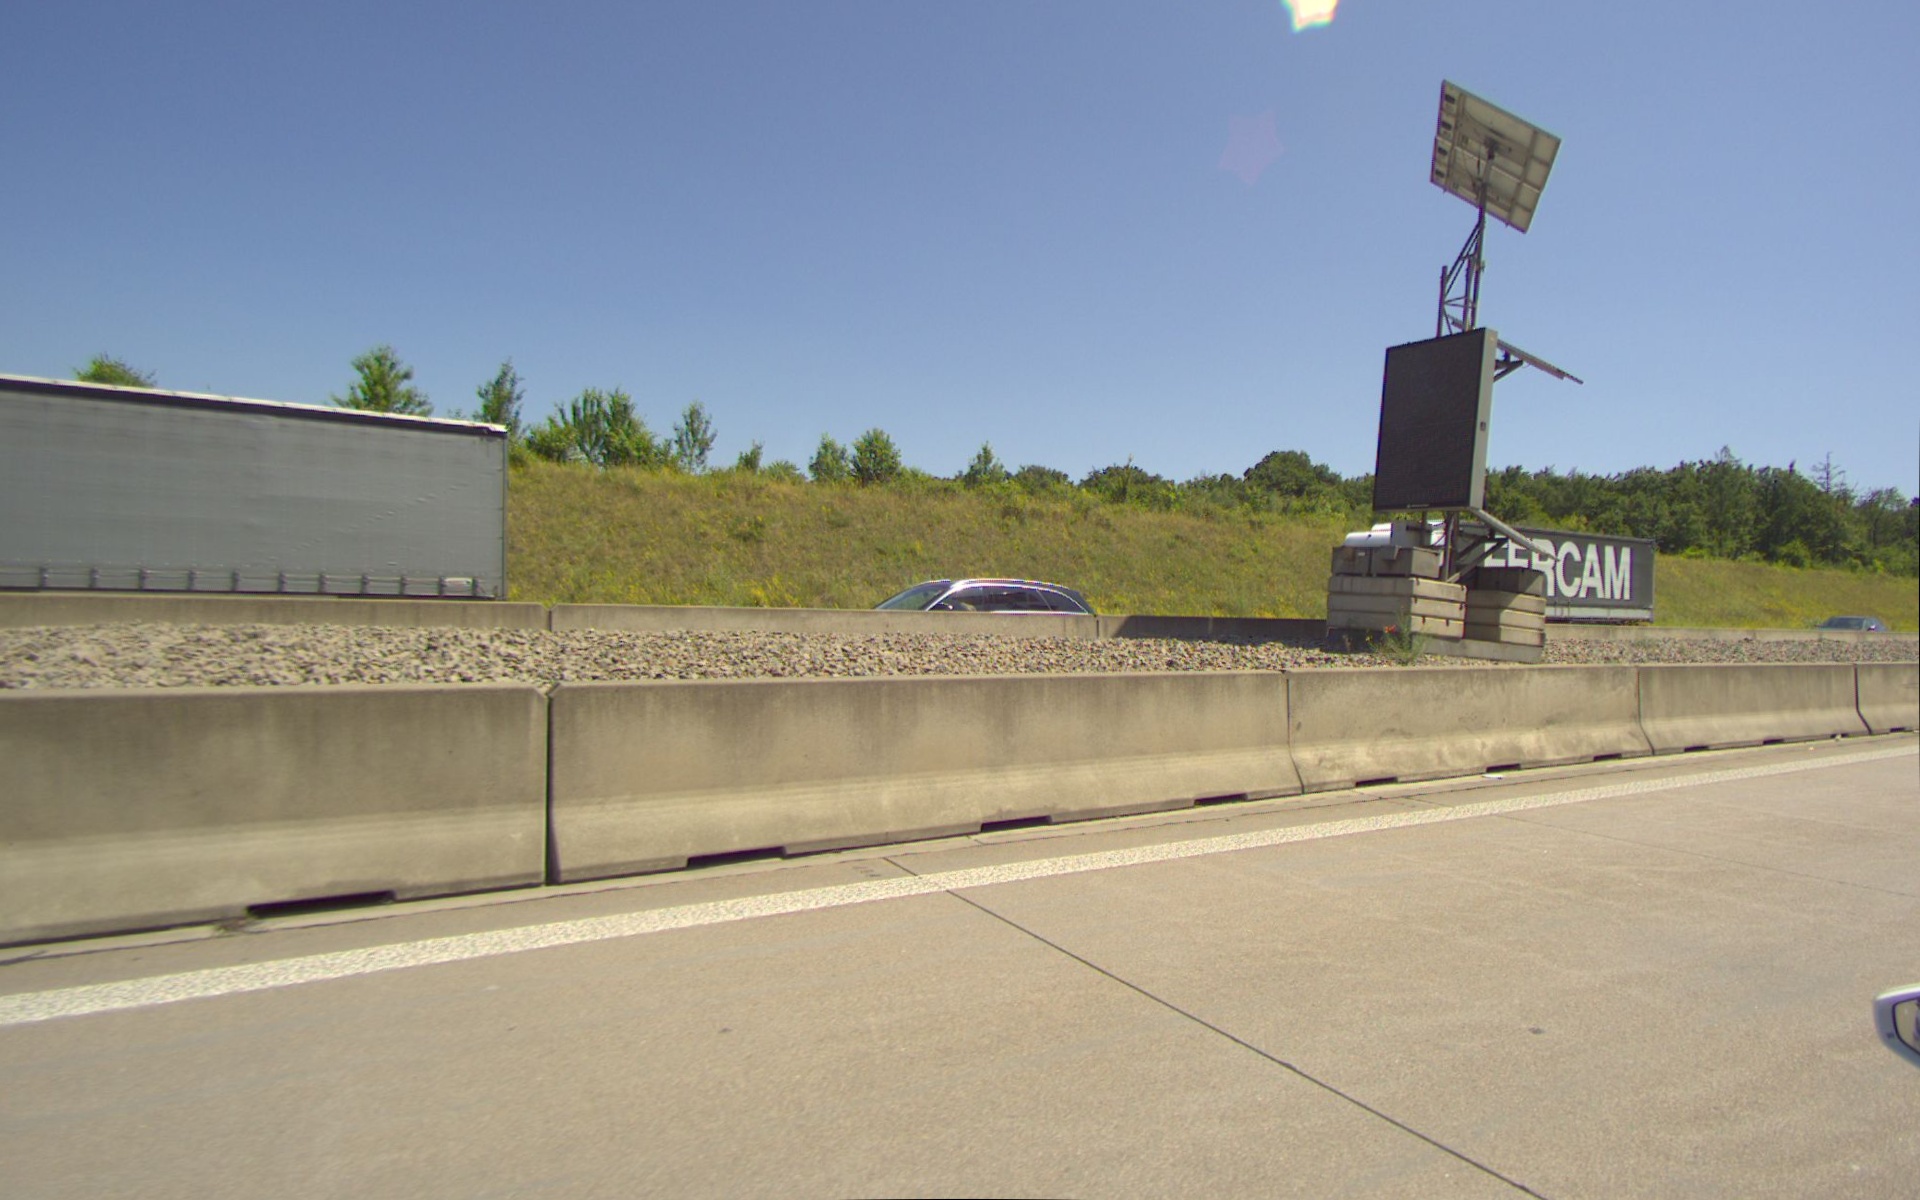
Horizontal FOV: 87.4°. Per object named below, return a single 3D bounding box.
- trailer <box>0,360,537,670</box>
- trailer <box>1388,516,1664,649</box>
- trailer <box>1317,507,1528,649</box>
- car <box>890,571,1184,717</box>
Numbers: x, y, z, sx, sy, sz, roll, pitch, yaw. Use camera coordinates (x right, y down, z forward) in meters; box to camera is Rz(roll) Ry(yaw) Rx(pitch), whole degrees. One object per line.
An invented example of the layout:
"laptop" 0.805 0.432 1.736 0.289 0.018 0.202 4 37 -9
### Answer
"trailer" -14.134 -1.232 14.793 14.226 4.224 2.917 2 2 -32
"trailer" 20.956 -0.437 36.638 13.048 4.224 2.916 2 2 -33
"trailer" 15.187 -0.622 32.869 6.817 4.225 2.916 2 2 -33
"car" 1.172 0.622 15.026 3.953 1.907 1.984 2 0 -30
